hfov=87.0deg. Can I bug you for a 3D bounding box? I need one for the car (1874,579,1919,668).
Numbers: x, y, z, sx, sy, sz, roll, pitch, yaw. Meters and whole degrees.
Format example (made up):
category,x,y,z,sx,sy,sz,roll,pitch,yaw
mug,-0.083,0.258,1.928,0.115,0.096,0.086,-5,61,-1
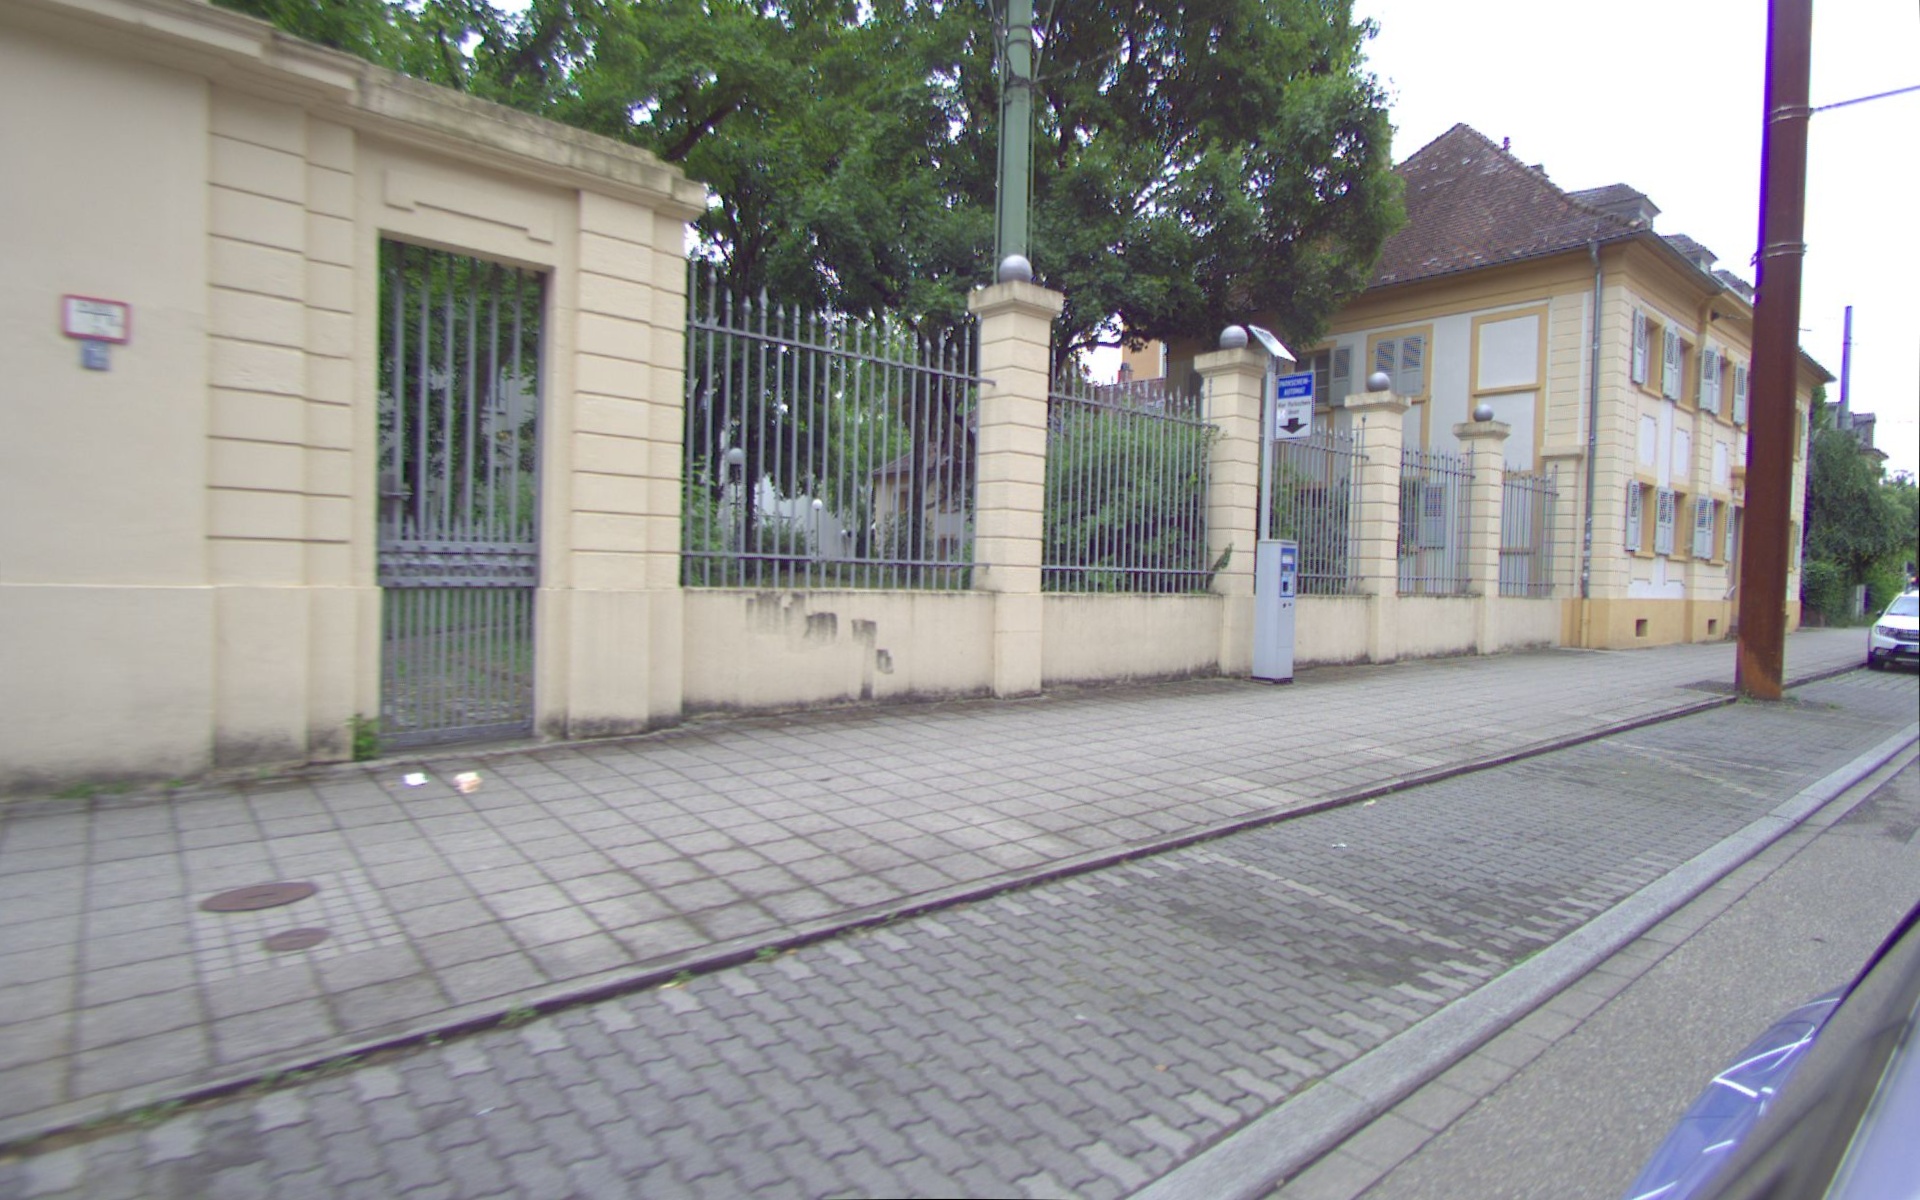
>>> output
category,x,y,z,sx,sy,sz,roll,pitch,yaw
car,19.193,0.469,19.545,3.862,1.593,1.759,0,4,-41
